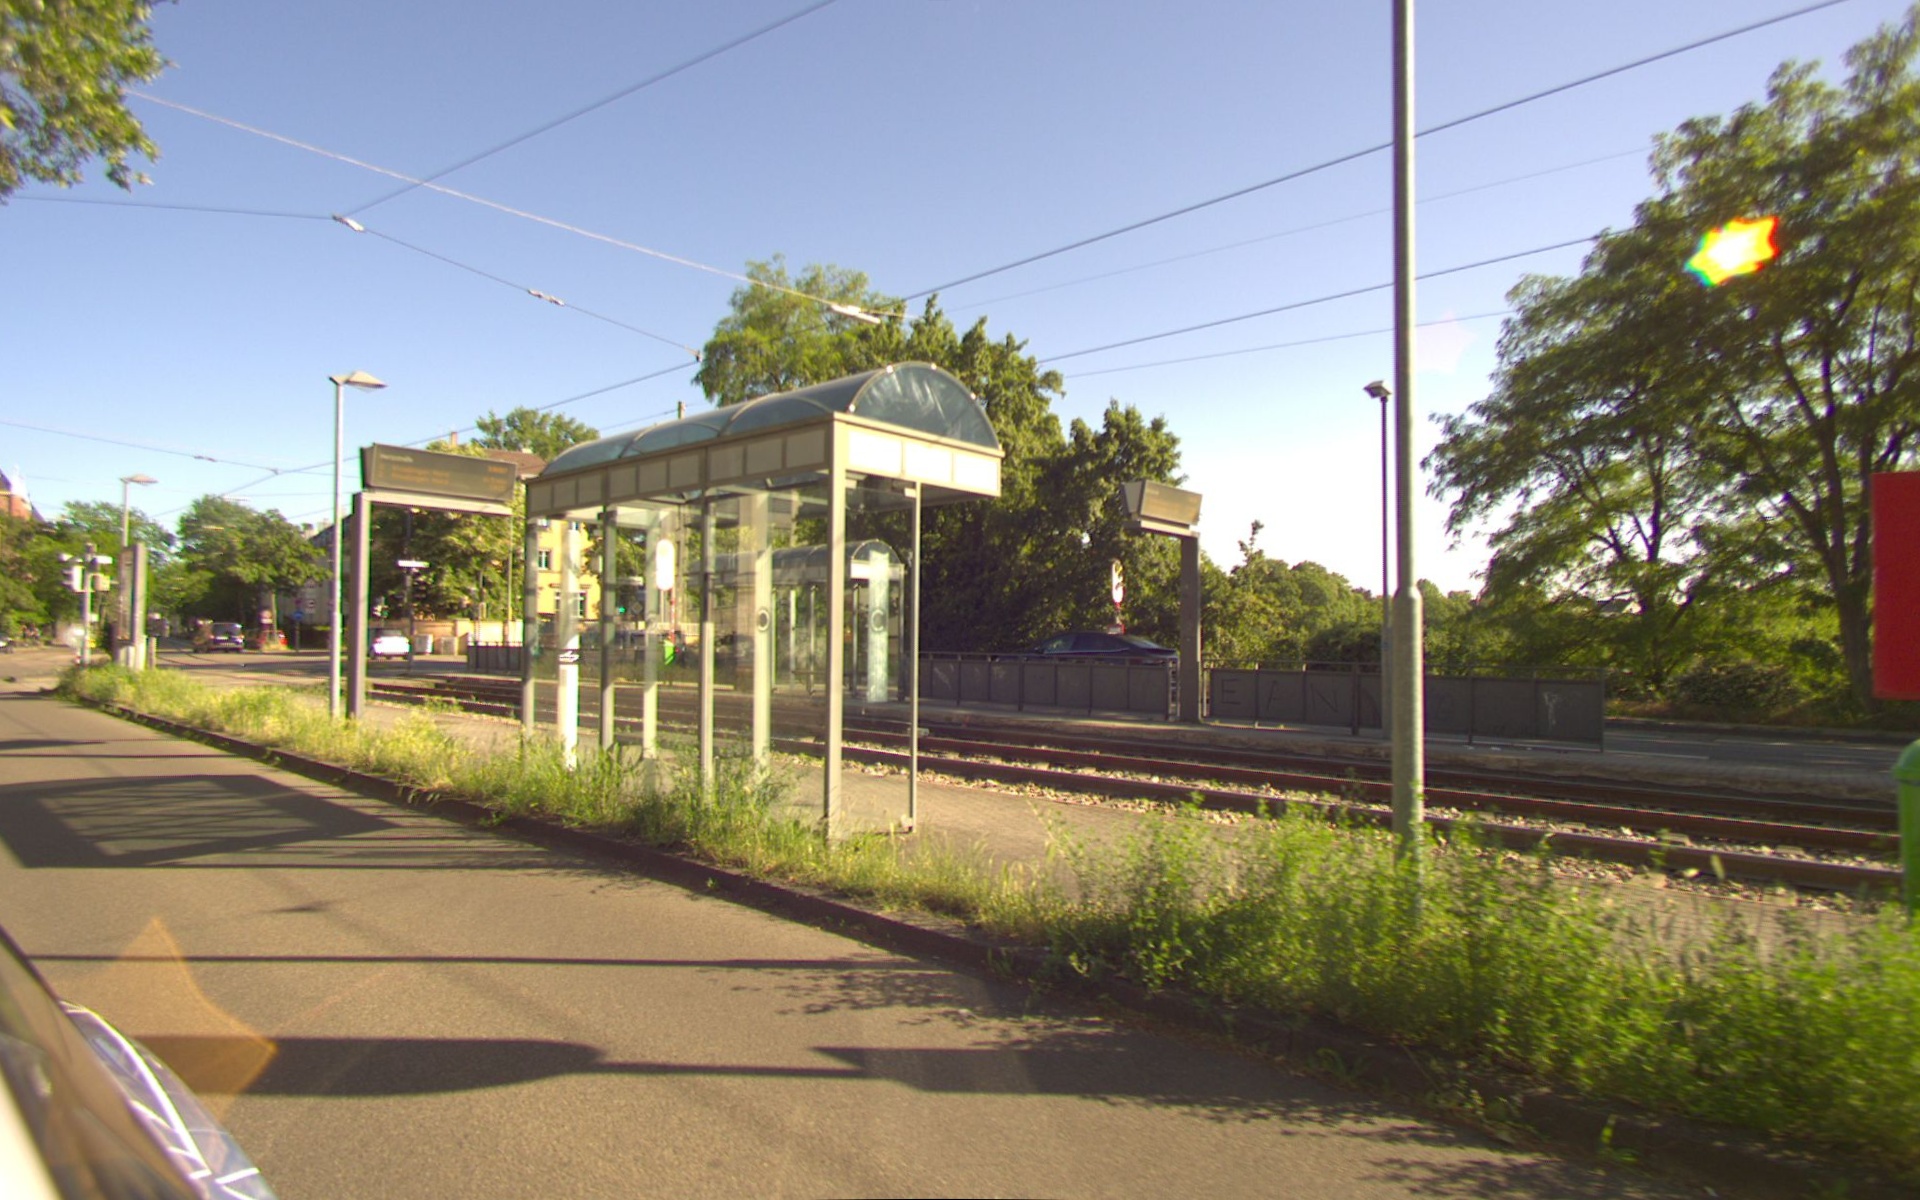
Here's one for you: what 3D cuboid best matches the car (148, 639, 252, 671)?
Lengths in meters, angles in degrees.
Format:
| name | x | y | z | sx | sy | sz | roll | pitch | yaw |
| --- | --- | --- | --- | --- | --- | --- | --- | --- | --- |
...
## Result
| name | x | y | z | sx | sy | sz | roll | pitch | yaw |
| --- | --- | --- | --- | --- | --- | --- | --- | --- | --- |
| car | -44.668 | 3.231 | 59.493 | 4.975 | 1.780 | 1.994 | -1 | -4 | 10 |

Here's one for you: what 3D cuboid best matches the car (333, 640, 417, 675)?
| name | x | y | z | sx | sy | sz | roll | pitch | yaw |
| --- | --- | --- | --- | --- | --- | --- | --- | --- | --- |
| car | -27.353 | 2.669 | 47.300 | 3.992 | 1.579 | 1.903 | -2 | -3 | 36 |

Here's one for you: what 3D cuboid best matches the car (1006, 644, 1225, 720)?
| name | x | y | z | sx | sy | sz | roll | pitch | yaw |
| --- | --- | --- | --- | --- | --- | --- | --- | --- | --- |
| car | 3.326 | 1.714 | 22.139 | 4.373 | 1.481 | 1.973 | -2 | -3 | 40 |

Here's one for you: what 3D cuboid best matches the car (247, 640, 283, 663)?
| name | x | y | z | sx | sy | sz | roll | pitch | yaw |
| --- | --- | --- | --- | --- | --- | --- | --- | --- | --- |
| car | -53.739 | 3.973 | 78.259 | 1.789 | 1.719 | 3.378 | 3 | -4 | -42 |

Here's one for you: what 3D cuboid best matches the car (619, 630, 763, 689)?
| name | x | y | z | sx | sy | sz | roll | pitch | yaw |
| --- | --- | --- | --- | --- | --- | --- | --- | --- | --- |
| car | -7.236 | 1.550 | 27.105 | 3.998 | 1.478 | 1.786 | -2 | -3 | 41 |
